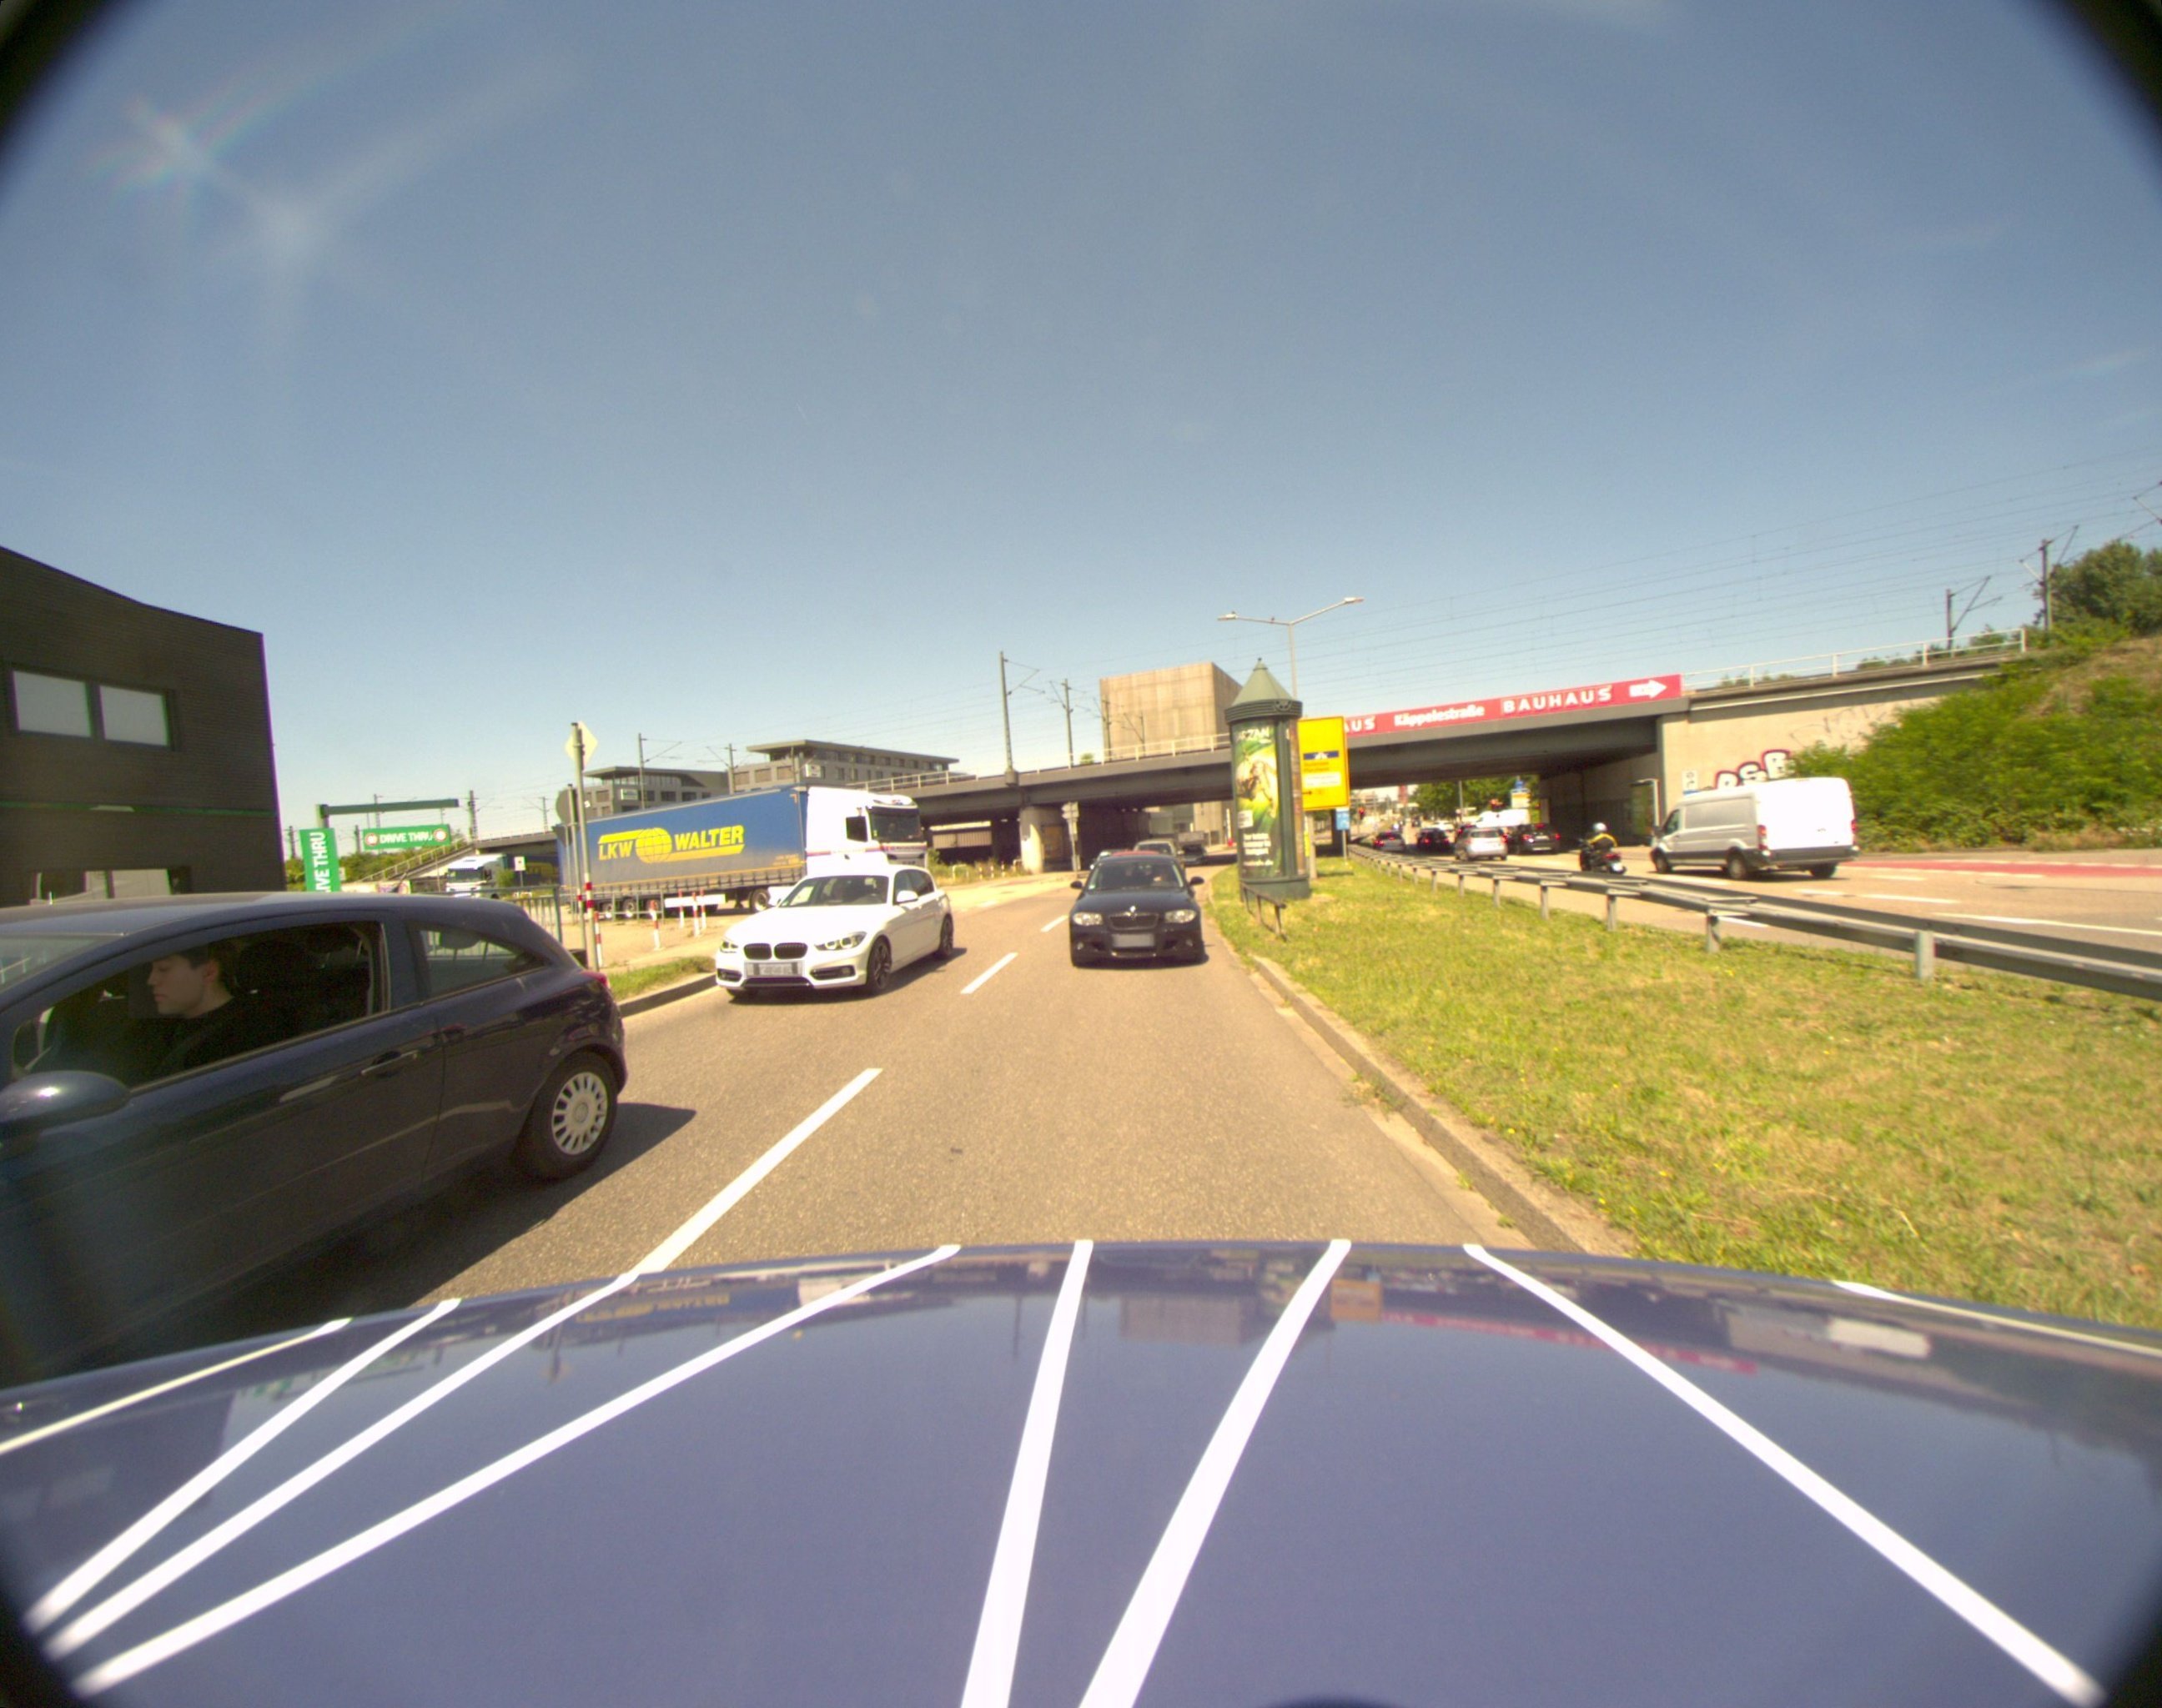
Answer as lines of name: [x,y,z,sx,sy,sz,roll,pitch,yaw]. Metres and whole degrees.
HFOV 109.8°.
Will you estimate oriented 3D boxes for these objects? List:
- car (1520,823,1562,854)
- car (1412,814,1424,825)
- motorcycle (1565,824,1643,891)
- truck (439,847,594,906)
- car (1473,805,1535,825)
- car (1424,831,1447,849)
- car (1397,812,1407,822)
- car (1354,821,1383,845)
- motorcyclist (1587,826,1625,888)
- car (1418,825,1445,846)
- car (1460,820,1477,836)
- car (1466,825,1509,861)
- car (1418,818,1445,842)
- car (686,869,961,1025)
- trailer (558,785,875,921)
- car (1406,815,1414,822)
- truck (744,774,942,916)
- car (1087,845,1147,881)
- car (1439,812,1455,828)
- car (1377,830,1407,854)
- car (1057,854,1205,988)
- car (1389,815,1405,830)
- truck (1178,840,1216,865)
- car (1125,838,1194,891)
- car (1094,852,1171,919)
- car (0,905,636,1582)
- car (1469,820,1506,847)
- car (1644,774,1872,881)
car: [24.196,-0.841,40.032,1.516,1.533,3.685,-2,1,26]
car: [65.140,-6.734,146.756,1.836,2.002,4.005,-2,1,22]
motorcycle: [14.012,0.055,20.458,0.599,1.669,2.426,-3,1,6]
truck: [-46.300,1.538,63.540,2.753,4.080,17.423,-3,1,-10]
car: [52.290,-4.832,94.036,2.003,2.091,6.366,-4,2,-42]
car: [24.876,-1.001,53.293,1.268,1.178,2.782,-2,1,28]
car: [72.249,-8.299,170.885,1.836,2.002,4.005,-2,1,22]
car: [23.740,-1.737,62.580,1.904,1.849,4.005,-2,1,25]
motorcyclist: [13.996,0.072,20.270,0.588,1.617,0.563,-3,2,6]
car: [27.166,-1.452,58.859,1.616,1.468,3.438,-2,1,28]
car: [32.183,-2.141,63.113,1.183,1.241,2.696,-2,1,28]
car: [19.283,-0.534,36.182,1.635,1.558,4.079,-2,1,26]
car: [29.860,-2.076,64.751,1.904,1.849,4.005,-2,1,25]
car: [-2.947,0.991,9.733,1.762,1.435,4.054,-1,1,6]
trailer: [-13.843,0.208,27.971,13.871,4.067,2.504,-3,1,28]
car: [95.949,-10.302,221.731,1.995,2.002,4.005,-2,1,23]
truck: [-7.778,-0.201,24.805,5.748,4.078,2.580,-3,1,27]
car: [1.745,0.394,35.228,1.714,1.434,4.004,-2,1,18]
car: [49.772,-4.582,103.318,1.704,2.002,4.005,-2,1,23]
car: [19.888,-0.792,48.628,1.636,1.395,4.227,-1,1,22]
car: [0.842,0.800,10.950,1.680,1.409,4.057,-3,1,7]
car: [45.554,-4.479,109.583,1.995,2.002,4.005,-2,1,23]
truck: [7.926,-0.104,51.639,1.728,1.493,4.005,-2,1,20]
car: [2.945,0.331,27.771,1.844,1.686,3.703,-3,1,15]
car: [1.253,0.685,18.712,1.646,1.391,4.053,-1,1,3]
car: [-3.392,1.044,2.240,1.650,1.436,3.891,-3,0,3]
car: [27.605,-1.432,51.666,1.773,1.658,4.020,-2,1,22]
car: [18.453,-0.612,21.223,2.097,2.485,5.815,-2,-1,12]
